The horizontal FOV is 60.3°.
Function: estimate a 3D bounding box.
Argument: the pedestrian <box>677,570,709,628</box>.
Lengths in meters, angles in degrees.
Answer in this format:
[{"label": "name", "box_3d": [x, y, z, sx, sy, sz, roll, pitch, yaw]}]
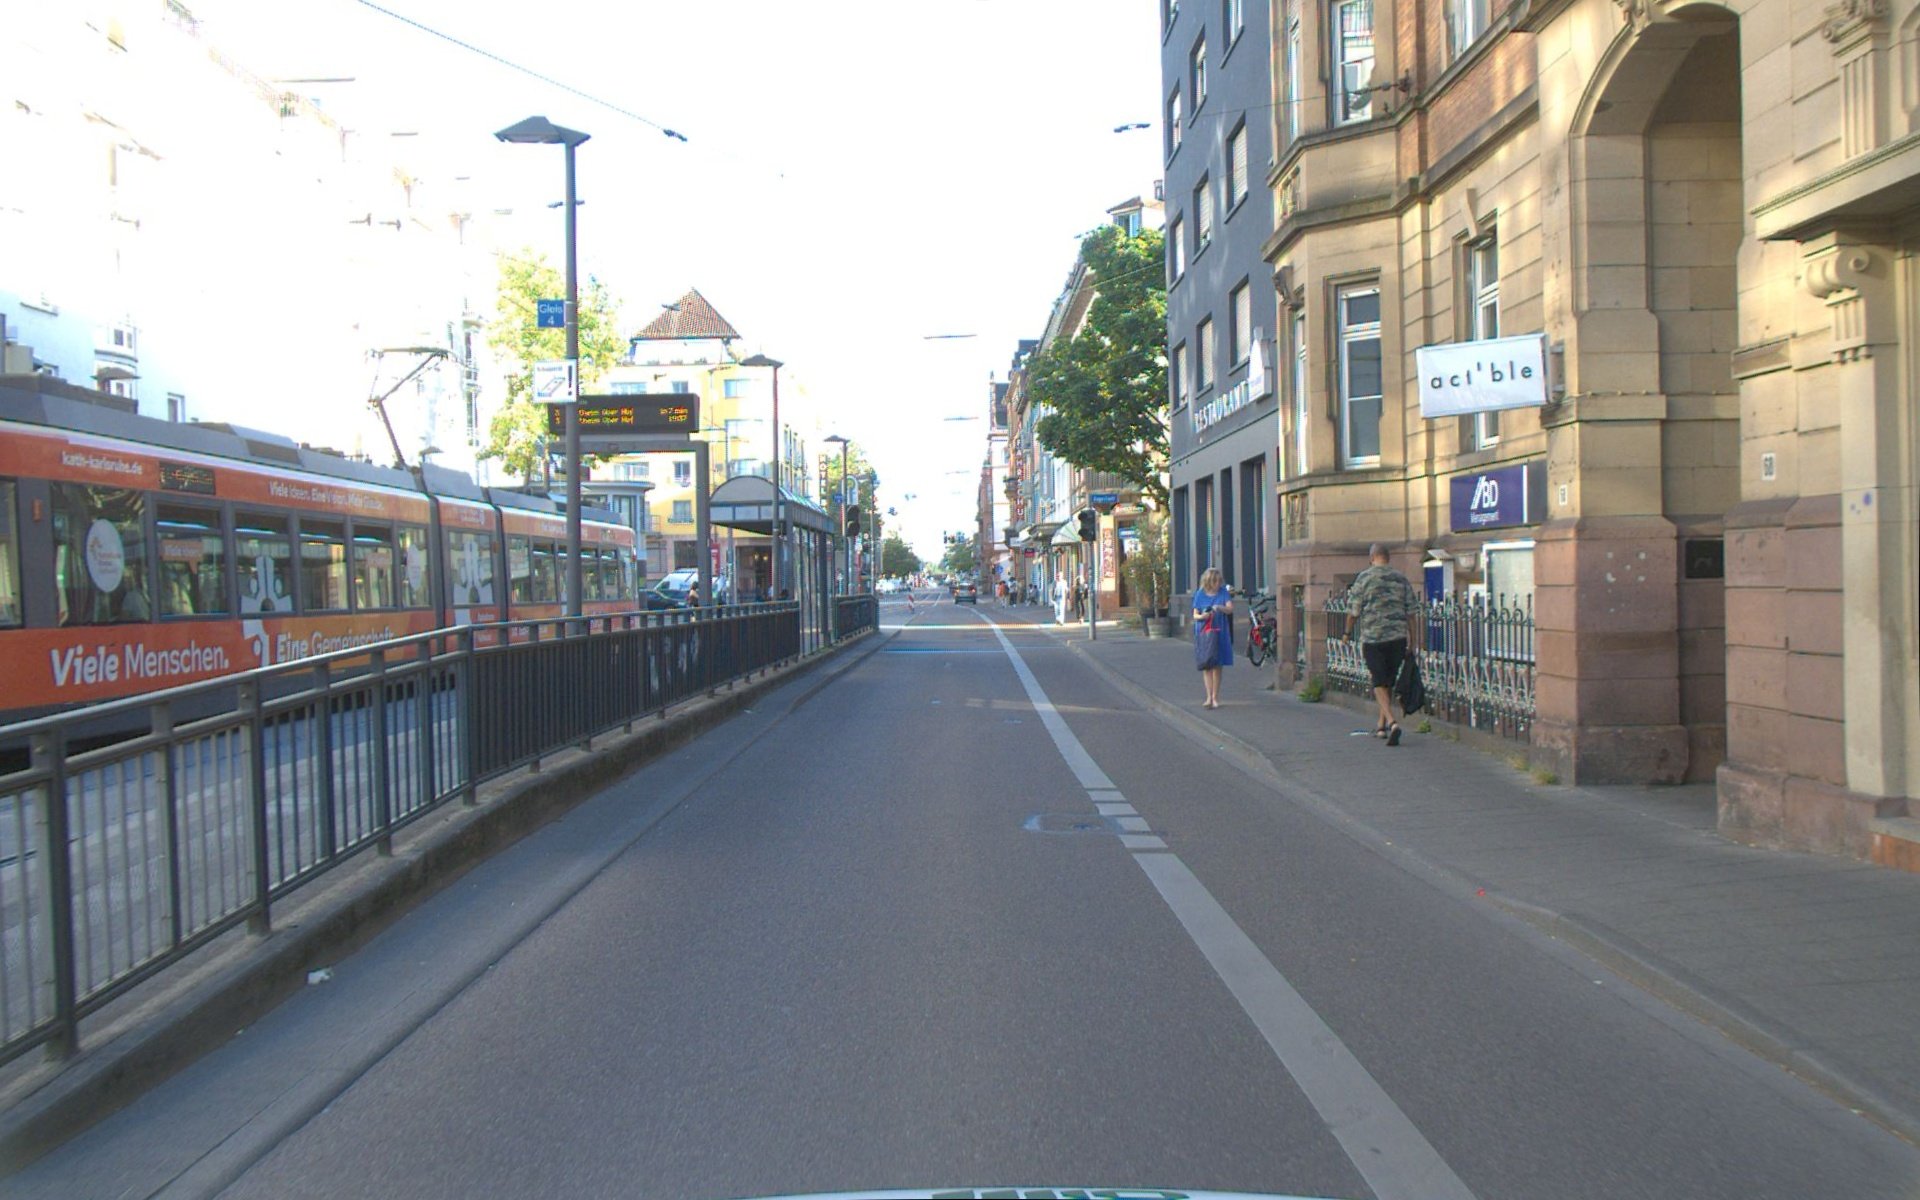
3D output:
[{"label": "pedestrian", "box_3d": [-8.127, -0.044, 50.439, 0.852, 1.744, 0.787, -1, 2, -3]}]

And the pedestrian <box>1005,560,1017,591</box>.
[{"label": "pedestrian", "box_3d": [3.113, -1.493, 101.154, 0.635, 1.827, 0.562, -3, 1, 4]}]

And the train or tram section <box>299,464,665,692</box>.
[{"label": "train or tram section", "box_3d": [-8.944, -0.431, 33.798, 2.826, 3.551, 14.953, -2, 1, 1]}]

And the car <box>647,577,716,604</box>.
[{"label": "car", "box_3d": [-17.341, -0.584, 103.009, 3.905, 1.536, 1.800, -2, 1, 0]}]

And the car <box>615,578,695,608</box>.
[{"label": "car", "box_3d": [-17.547, -0.418, 95.240, 4.231, 1.536, 1.800, -2, 1, 0]}]

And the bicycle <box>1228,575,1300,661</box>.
[{"label": "bicycle", "box_3d": [4.750, 0.253, 25.944, 0.611, 1.218, 1.907, -5, 2, -2]}]

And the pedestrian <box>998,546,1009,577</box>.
[{"label": "pedestrian", "box_3d": [2.608, -2.299, 99.529, 0.548, 1.827, 0.651, -2, 1, 6]}]

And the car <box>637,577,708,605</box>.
[{"label": "car", "box_3d": [-17.458, -0.531, 100.477, 3.905, 1.536, 1.800, -2, 1, 0]}]

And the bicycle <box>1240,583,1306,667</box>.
[{"label": "bicycle", "box_3d": [4.525, 0.342, 24.001, 0.579, 1.088, 1.805, -5, 2, 2]}]

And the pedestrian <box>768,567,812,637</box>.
[{"label": "pedestrian", "box_3d": [-3.008, 0.033, 29.299, 0.671, 1.196, 0.537, -3, 1, 0]}]

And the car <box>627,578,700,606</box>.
[{"label": "car", "box_3d": [-17.547, -0.479, 97.896, 3.905, 1.536, 1.800, -2, 1, 0]}]

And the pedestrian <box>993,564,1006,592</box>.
[{"label": "pedestrian", "box_3d": [2.861, -1.563, 118.890, 0.826, 1.951, 0.661, -3, 1, -2]}]

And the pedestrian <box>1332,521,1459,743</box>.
[{"label": "pedestrian", "box_3d": [3.837, 0.265, 14.634, 0.785, 1.855, 0.797, -4, 2, -1]}]

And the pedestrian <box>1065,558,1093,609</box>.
[{"label": "pedestrian", "box_3d": [3.966, -0.549, 55.000, 0.699, 1.630, 0.773, -5, 2, -4]}]

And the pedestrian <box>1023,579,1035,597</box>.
[{"label": "pedestrian", "box_3d": [4.242, -0.744, 101.213, 0.676, 1.061, 0.681, -3, 1, 4]}]

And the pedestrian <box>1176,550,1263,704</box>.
[{"label": "pedestrian", "box_3d": [2.973, 0.289, 19.012, 0.747, 1.673, 0.832, -4, 2, -1]}]

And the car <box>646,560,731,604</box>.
[{"label": "car", "box_3d": [-17.307, -1.144, 105.581, 5.001, 2.620, 2.129, -2, 1, 0]}]

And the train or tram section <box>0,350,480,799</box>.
[{"label": "train or tram section", "box_3d": [-9.055, -0.240, 19.238, 2.826, 3.551, 14.166, -2, 1, 0]}]

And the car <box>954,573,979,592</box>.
[{"label": "car", "box_3d": [0.520, -1.468, 136.141, 1.953, 1.474, 4.000, -2, 1, -1]}]

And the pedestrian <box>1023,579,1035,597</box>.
[{"label": "pedestrian", "box_3d": [4.173, -0.741, 100.213, 0.676, 1.061, 0.681, -3, 1, 4]}]

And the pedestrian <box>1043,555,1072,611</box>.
[{"label": "pedestrian", "box_3d": [3.239, -0.570, 54.923, 0.699, 1.804, 0.773, -5, 2, -4]}]
